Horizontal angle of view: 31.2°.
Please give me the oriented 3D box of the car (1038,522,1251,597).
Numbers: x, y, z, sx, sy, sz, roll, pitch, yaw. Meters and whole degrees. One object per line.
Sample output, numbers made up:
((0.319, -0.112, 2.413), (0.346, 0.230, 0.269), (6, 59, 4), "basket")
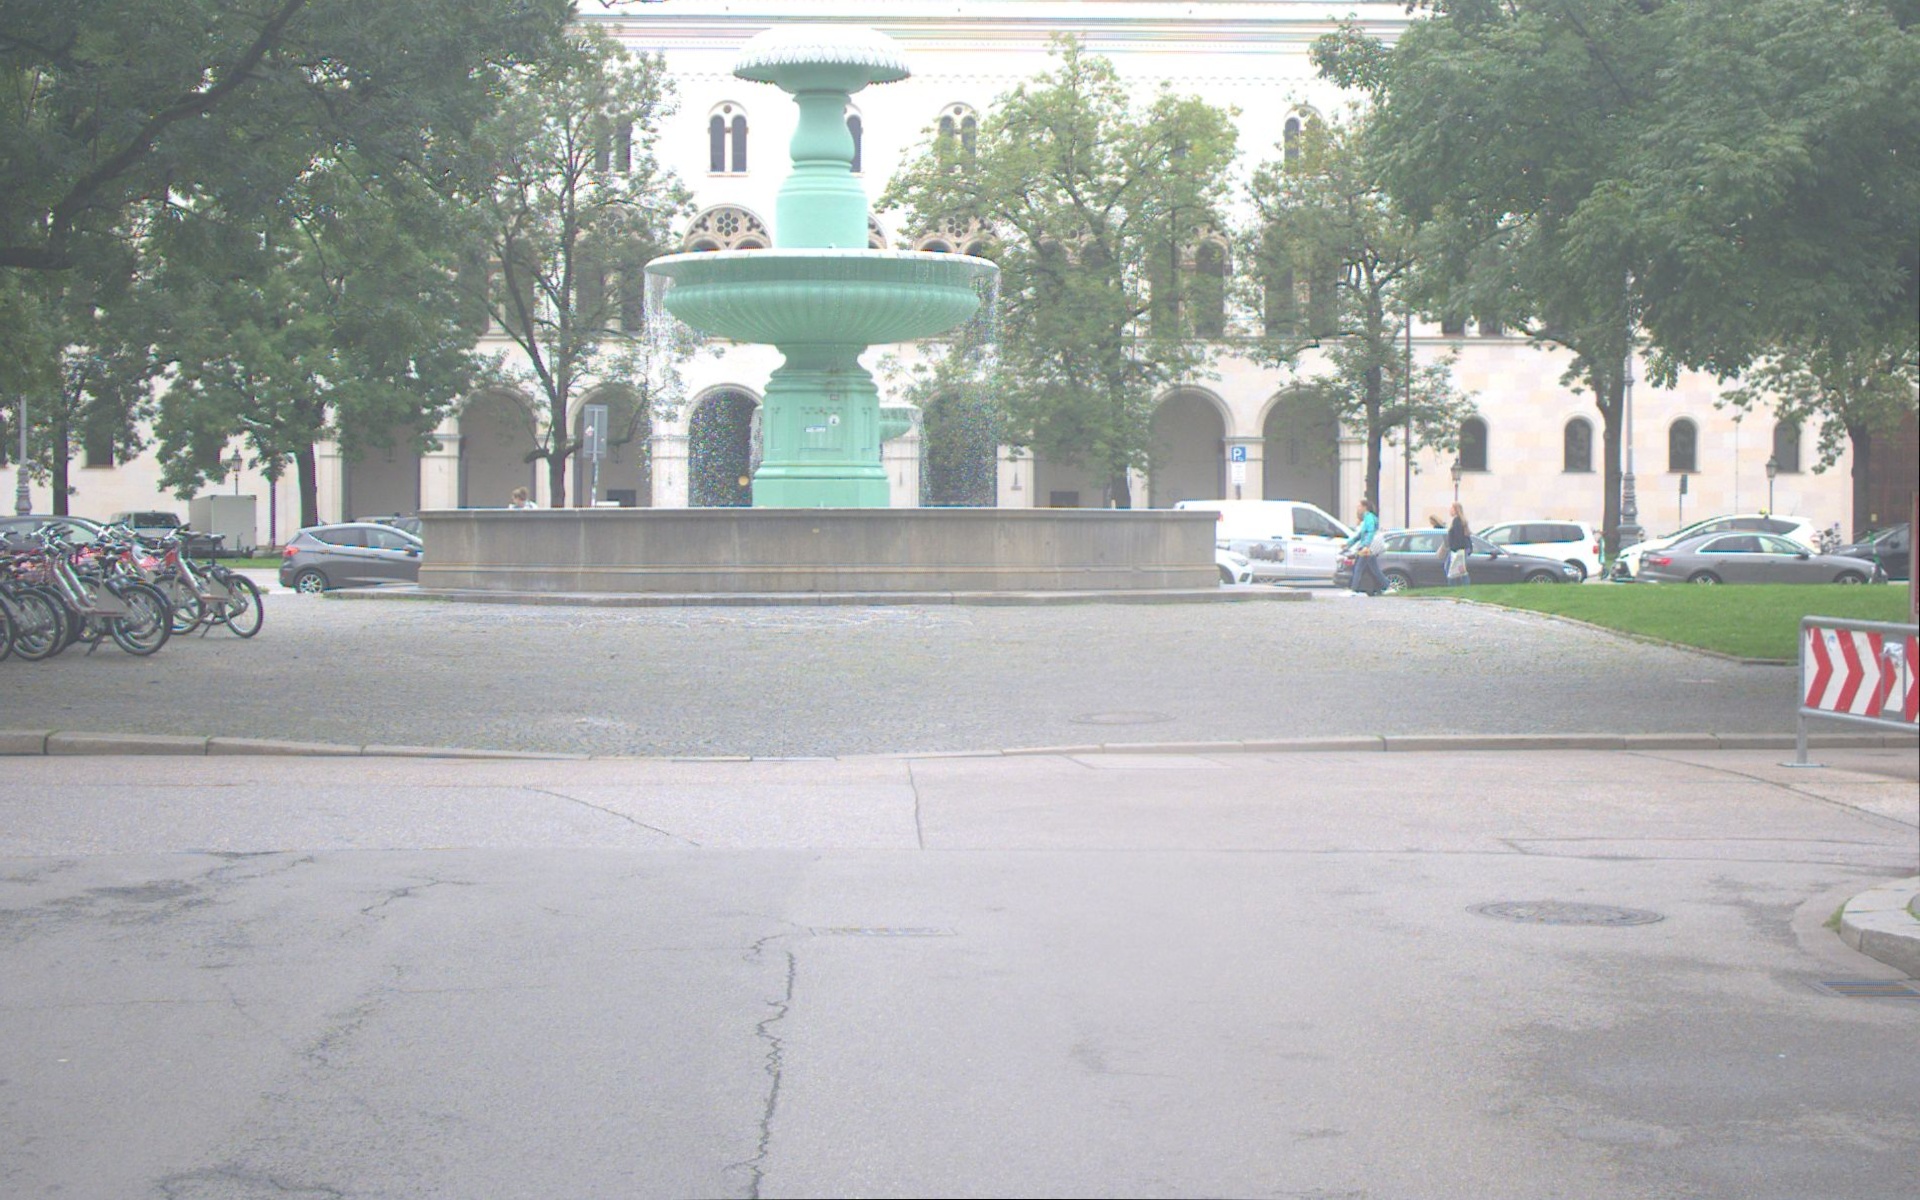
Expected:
((3.494, -0.785, 65.756), (3.987, 1.398, 1.825), (0, 2, 1), "car")

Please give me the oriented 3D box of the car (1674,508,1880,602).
((18.264, -1.015, 76.975), (3.986, 2.006, 2.001), (1, 2, -7), "car")

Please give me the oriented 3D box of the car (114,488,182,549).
((-27.784, -2.805, 117.495), (2.131, 2.006, 4.193), (0, 2, -15), "car")

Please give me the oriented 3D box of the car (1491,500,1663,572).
((15.864, -1.662, 88.469), (3.986, 1.777, 1.932), (1, 2, -3), "car")

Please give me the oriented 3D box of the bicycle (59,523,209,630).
((-8.792, -0.257, 36.614), (1.401, 1.095, 0.656), (1, 2, 10), "bicycle")

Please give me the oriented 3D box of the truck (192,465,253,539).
((-25.652, -3.429, 119.505), (1.993, 2.480, 4.002), (1, 2, -13), "truck")

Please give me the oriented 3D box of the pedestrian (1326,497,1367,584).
((6.590, -1.018, 58.617), (0.583, 1.460, 0.547), (1, 2, 22), "pedestrian")

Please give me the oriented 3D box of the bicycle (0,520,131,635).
((-9.156, -0.235, 34.205), (1.619, 1.095, 0.698), (1, 2, 10), "bicycle")

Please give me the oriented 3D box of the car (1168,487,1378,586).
((6.654, -1.371, 73.349), (4.326, 2.006, 1.824), (1, 2, 2), "car")

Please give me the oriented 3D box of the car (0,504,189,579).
((-16.751, -1.119, 64.974), (3.986, 1.371, 2.000), (0, 2, -3), "car")

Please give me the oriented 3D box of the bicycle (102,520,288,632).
((-7.797, -0.249, 35.075), (1.710, 1.095, 0.698), (1, 2, 10), "bicycle")

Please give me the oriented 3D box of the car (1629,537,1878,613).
((15.202, -0.497, 66.003), (4.357, 1.413, 1.804), (0, 2, 0), "car")

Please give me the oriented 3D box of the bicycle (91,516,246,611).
((-8.865, -0.414, 38.515), (1.536, 1.016, 0.698), (1, 2, 10), "bicycle")

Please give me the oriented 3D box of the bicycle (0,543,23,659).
((-9.385, -0.005, 31.062), (1.619, 1.032, 0.698), (1, 2, 10), "bicycle")

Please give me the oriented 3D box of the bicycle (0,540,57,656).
((-9.260, -0.036, 31.781), (1.619, 1.032, 0.698), (1, 2, 10), "bicycle")

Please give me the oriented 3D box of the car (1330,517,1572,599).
((9.333, -0.817, 65.623), (4.357, 1.519, 1.804), (0, 2, 0), "car")

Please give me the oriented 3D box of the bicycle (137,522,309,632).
((-7.661, -0.247, 35.755), (1.619, 1.095, 0.616), (1, 2, 10), "bicycle")

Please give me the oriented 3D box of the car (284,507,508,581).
((-10.678, -1.068, 65.318), (3.986, 1.371, 2.000), (0, 2, -3), "car")

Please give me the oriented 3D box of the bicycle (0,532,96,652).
((-9.085, -0.091, 32.536), (1.619, 1.095, 0.698), (1, 2, 10), "bicycle")

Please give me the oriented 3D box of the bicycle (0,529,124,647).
((-8.996, -0.124, 33.252), (1.619, 1.095, 0.698), (1, 2, 10), "bicycle")

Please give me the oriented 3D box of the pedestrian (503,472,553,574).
((-7.012, -1.252, 55.827), (0.750, 1.634, 0.710), (0, 2, -2), "pedestrian")

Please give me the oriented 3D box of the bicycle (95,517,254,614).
((-8.592, -0.383, 37.628), (1.536, 1.016, 0.698), (1, 2, 10), "bicycle")

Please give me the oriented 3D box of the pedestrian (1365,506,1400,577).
((7.189, -0.999, 58.493), (0.443, 1.210, 0.535), (1, 2, 24), "pedestrian")

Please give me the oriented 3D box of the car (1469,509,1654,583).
((14.695, -1.333, 84.101), (4.096, 1.735, 1.747), (1, 2, -5), "car")
